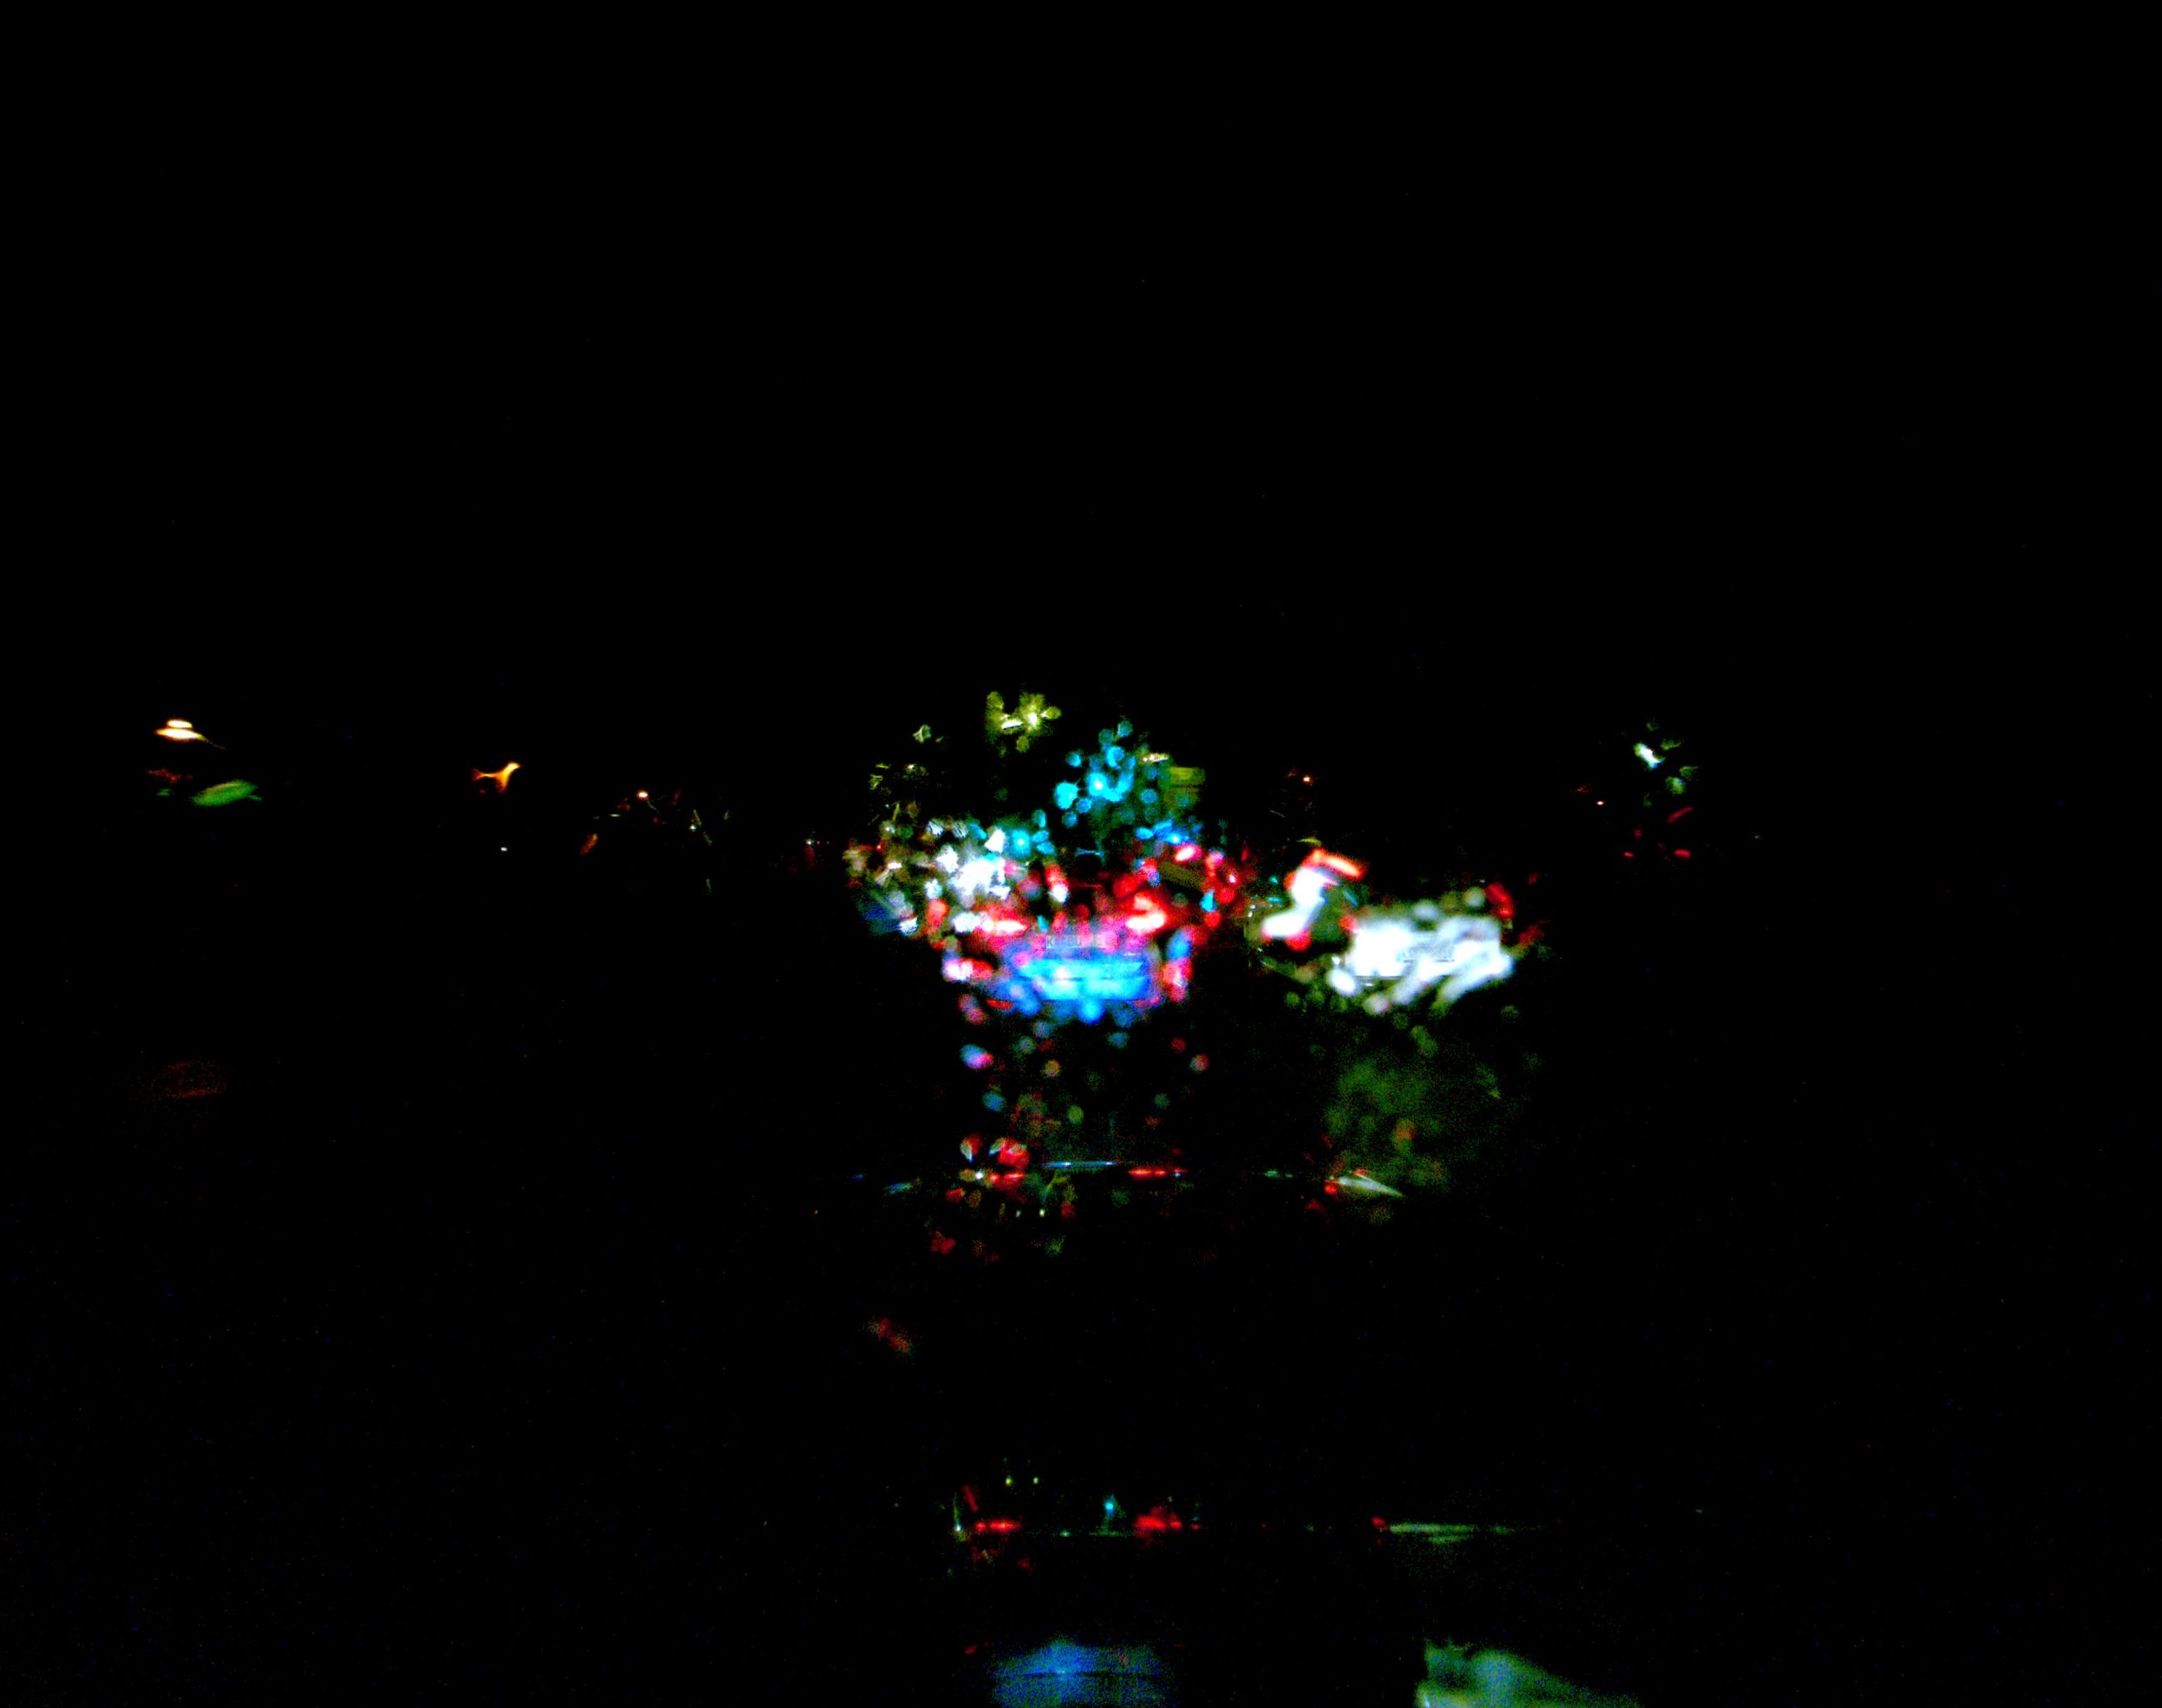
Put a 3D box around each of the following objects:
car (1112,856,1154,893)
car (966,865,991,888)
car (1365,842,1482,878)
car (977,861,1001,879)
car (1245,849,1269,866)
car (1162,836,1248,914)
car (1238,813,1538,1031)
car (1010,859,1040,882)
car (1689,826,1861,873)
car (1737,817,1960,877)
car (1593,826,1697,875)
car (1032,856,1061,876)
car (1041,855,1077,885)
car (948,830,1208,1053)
[{"bbox_3d":[2.539,1.001,40.834,1.986,1.718,4.001,0,-1,2],"label":"car"},{"bbox_3d":[-9.275,2.007,73.548,2.014,1.887,4.437,1,1,-10],"label":"car"},{"bbox_3d":[14.292,0.259,34.050,4.286,1.460,1.863,0,-1,30],"label":"car"},{"bbox_3d":[-9.761,1.690,86.546,1.997,1.824,3.980,0,-1,-15],"label":"car"},{"bbox_3d":[18.930,0.369,87.755,1.857,1.646,3.965,-3,-1,2],"label":"car"},{"bbox_3d":[3.455,0.569,23.367,1.961,2.047,4.001,0,-1,2],"label":"car"},{"bbox_3d":[3.047,0.607,9.157,1.845,1.865,4.342,0,-1,2],"label":"car"},{"bbox_3d":[-4.600,1.297,66.485,1.994,1.824,3.984,0,-1,-11],"label":"car"},{"bbox_3d":[22.501,-0.109,26.619,3.950,1.430,1.855,0,-1,26],"label":"car"},{"bbox_3d":[20.105,-0.151,21.551,3.901,1.487,1.773,0,-1,20],"label":"car"},{"bbox_3d":[18.481,-0.078,26.931,1.706,1.483,4.730,0,-1,20],"label":"car"},{"bbox_3d":[-3.236,1.119,75.382,1.996,1.820,3.981,0,-1,-14],"label":"car"},{"bbox_3d":[-1.375,0.960,48.943,1.990,1.732,3.994,0,-1,-4],"label":"car"},{"bbox_3d":[-0.014,0.696,8.514,2.008,1.717,4.451,0,-1,0],"label":"car"}]
